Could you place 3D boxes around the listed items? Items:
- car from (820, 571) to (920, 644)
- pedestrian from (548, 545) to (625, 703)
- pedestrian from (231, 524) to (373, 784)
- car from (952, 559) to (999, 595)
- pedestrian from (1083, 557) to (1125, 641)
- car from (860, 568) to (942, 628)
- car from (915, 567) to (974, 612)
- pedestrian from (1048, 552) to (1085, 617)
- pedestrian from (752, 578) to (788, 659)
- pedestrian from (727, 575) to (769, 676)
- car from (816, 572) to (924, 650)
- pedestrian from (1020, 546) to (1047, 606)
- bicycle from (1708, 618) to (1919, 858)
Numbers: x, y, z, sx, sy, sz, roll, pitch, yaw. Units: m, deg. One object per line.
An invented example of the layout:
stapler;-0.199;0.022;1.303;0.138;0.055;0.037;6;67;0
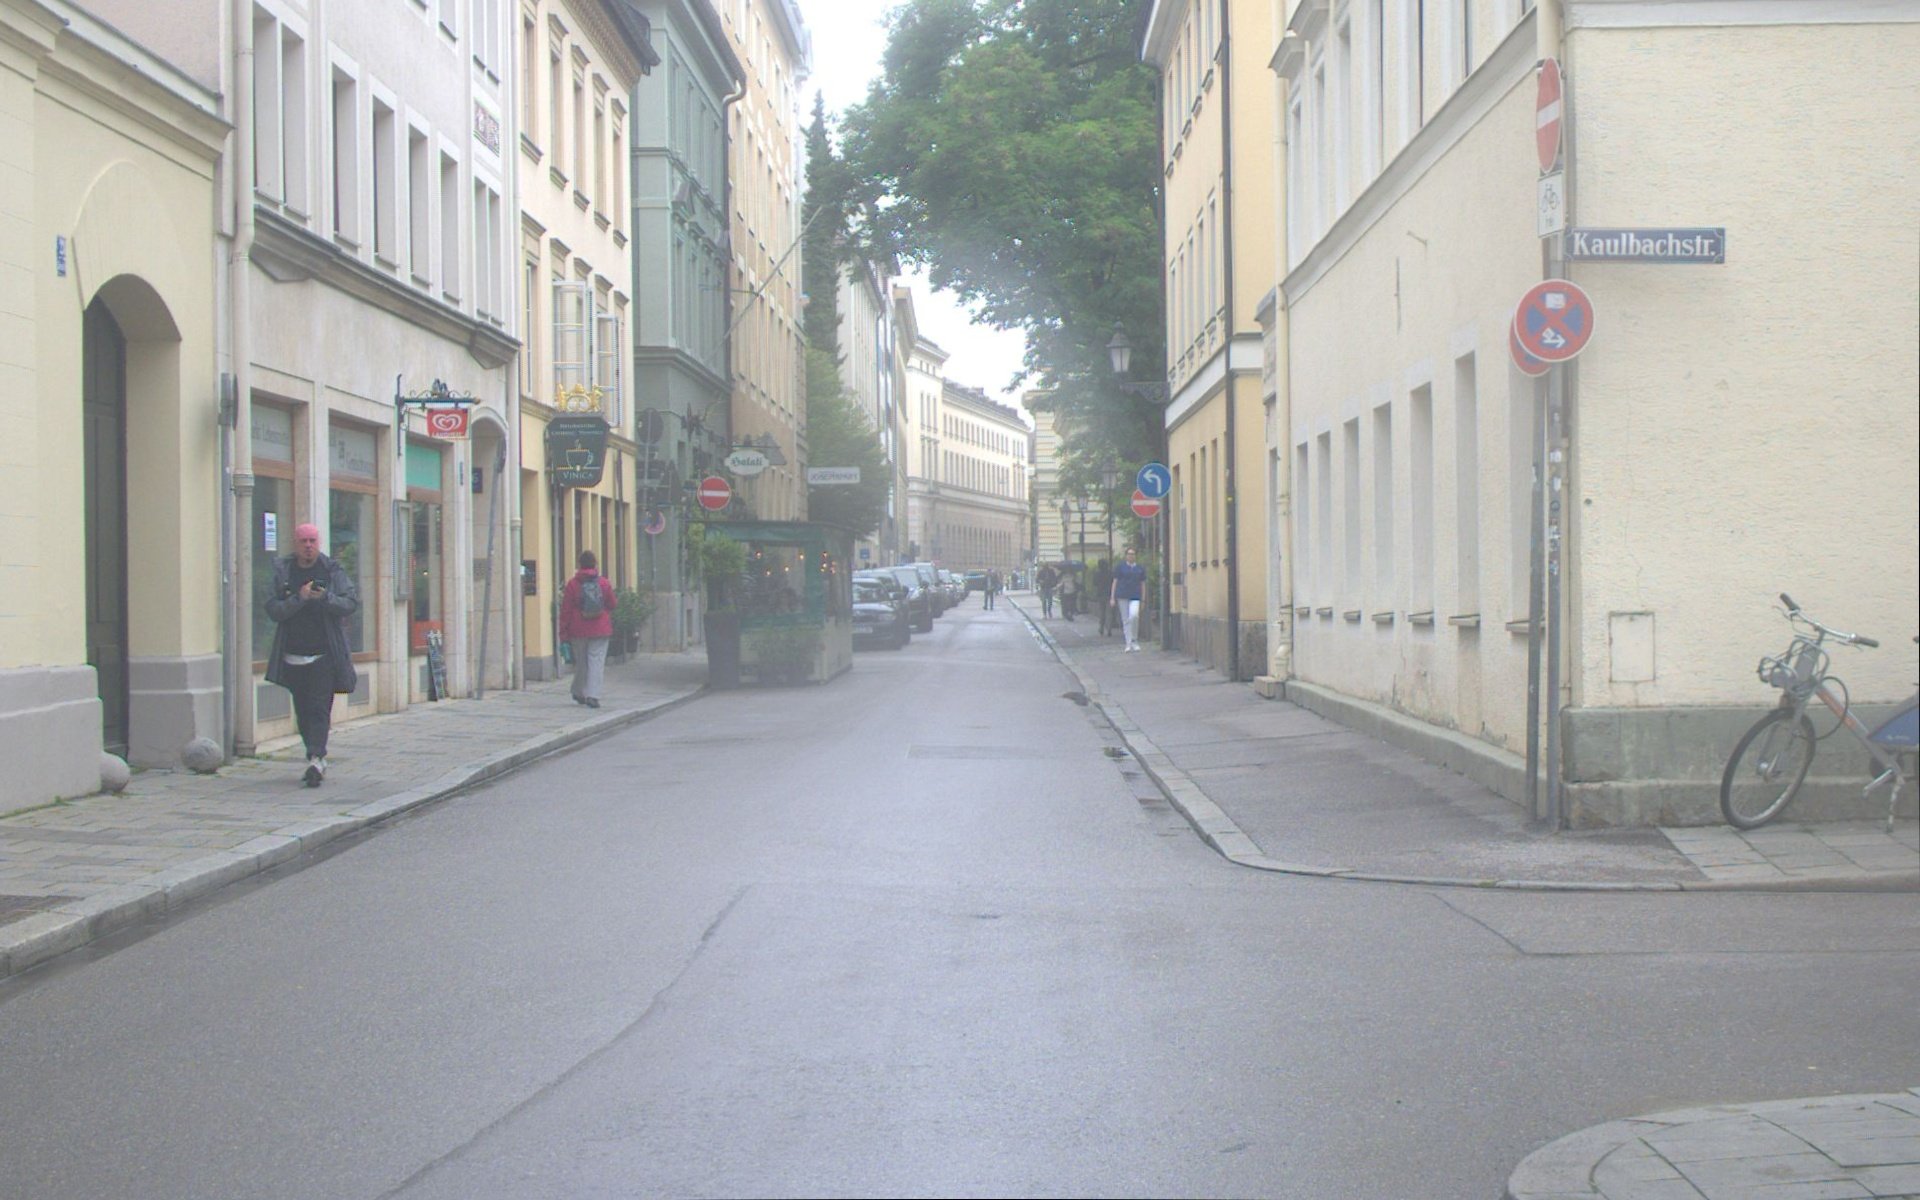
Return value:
car;-1.861;0.137;71.931;1.779;1.461;3.541;1;1;3
pedestrian;-4.070;0.254;37.517;0.765;1.702;0.785;0;0;-1
pedestrian;-4.560;0.359;23.864;0.809;1.749;0.990;1;2;-1
car;0.668;-0.980;145.844;1.779;1.461;3.541;1;1;3
pedestrian;3.114;-0.027;74.343;0.880;1.796;1.046;1;0;2
car;-1.462;-0.077;86.882;1.779;1.461;3.541;1;1;3
car;-0.513;-0.363;116.596;1.779;1.461;3.541;1;1;3
pedestrian;3.019;-0.443;97.731;1.015;1.796;1.349;1;0;2
pedestrian;-2.938;0.281;53.173;0.509;1.233;0.631;1;0;-1
pedestrian;-2.821;0.337;45.758;0.509;1.322;0.631;1;0;-1
car;-1.735;0.193;67.324;1.779;1.461;3.662;1;1;3
pedestrian;2.241;-0.736;104.882;0.793;1.796;0.903;1;0;2
bicycle;4.693;0.678;17.240;1.757;1.140;0.586;-1;3;1
